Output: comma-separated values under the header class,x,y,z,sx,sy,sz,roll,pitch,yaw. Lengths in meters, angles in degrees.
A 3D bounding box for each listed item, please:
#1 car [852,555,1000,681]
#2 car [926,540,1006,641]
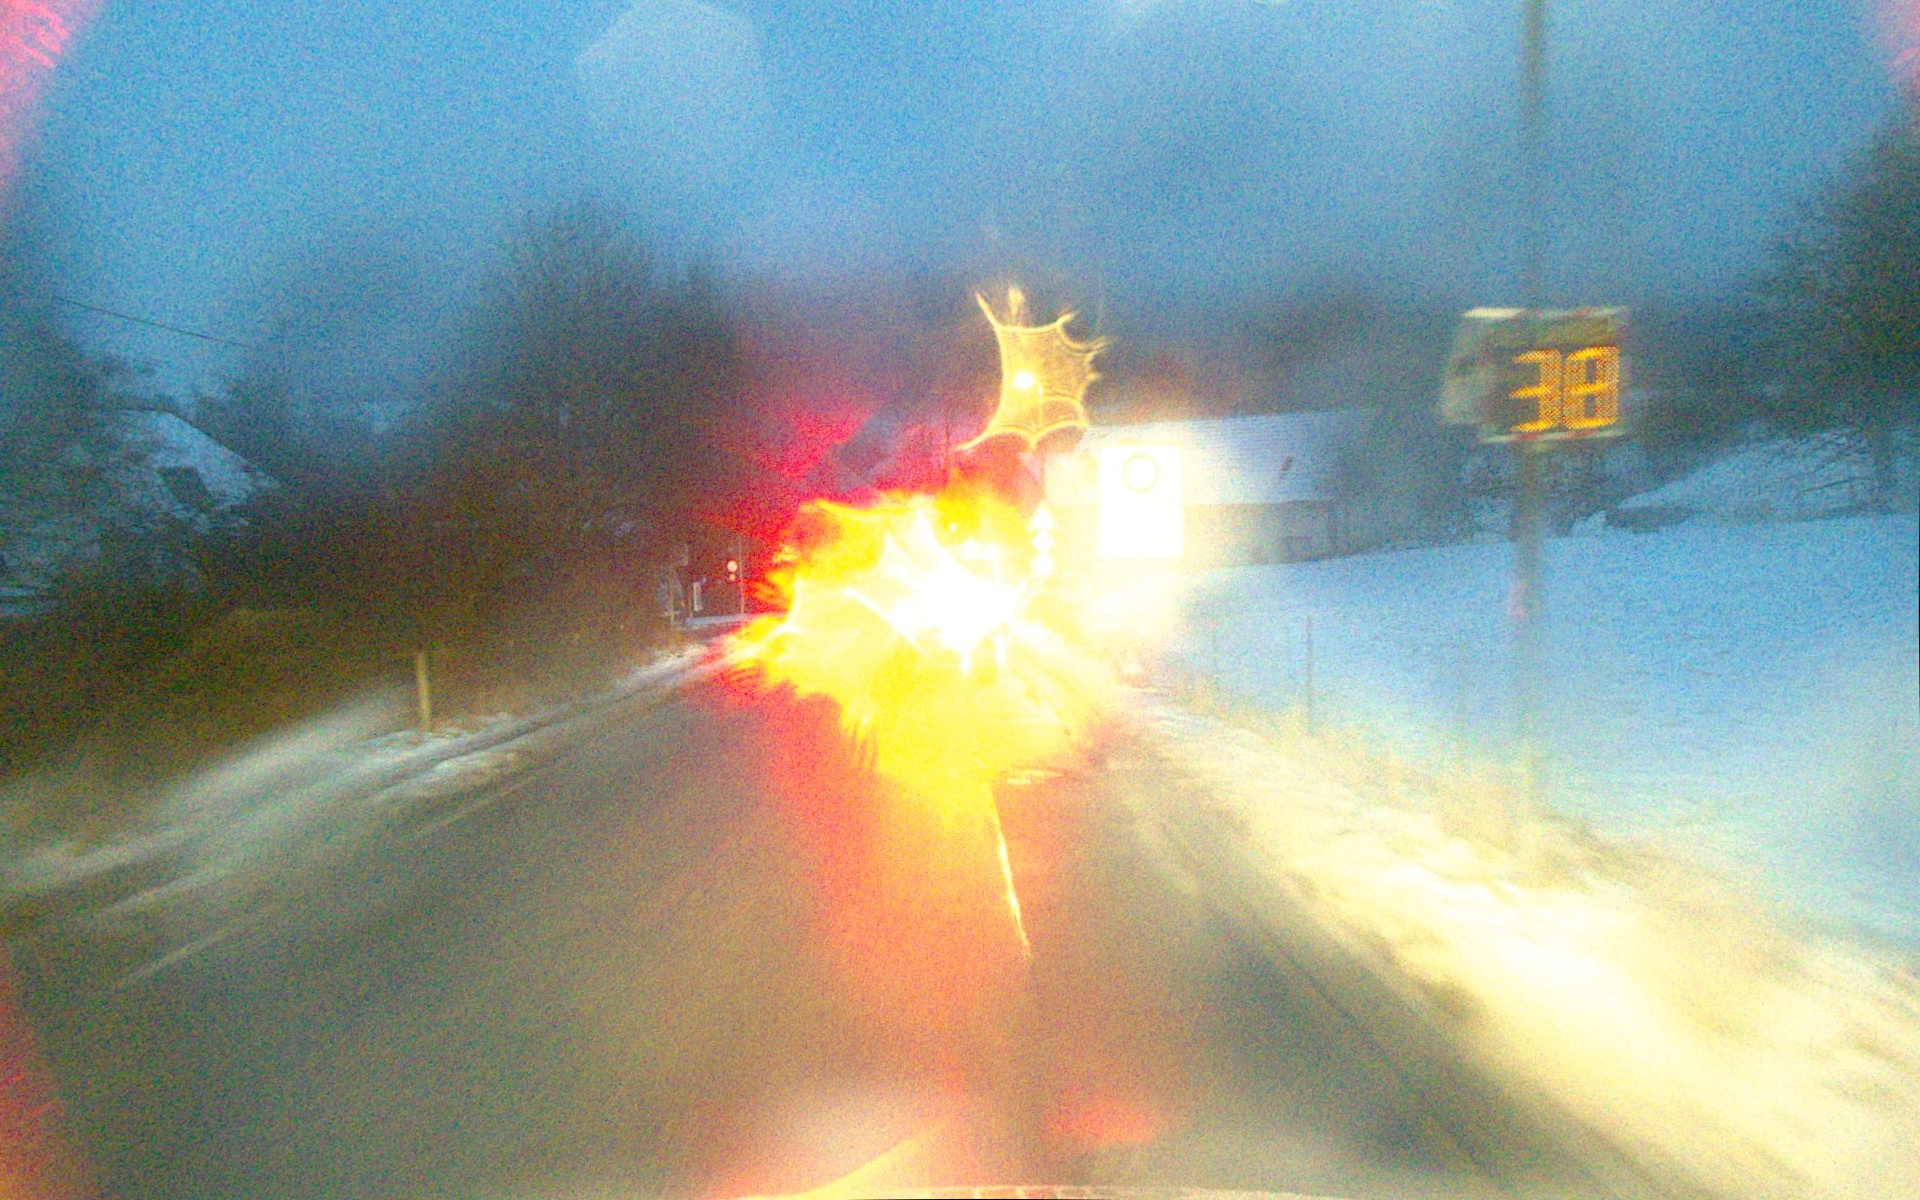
class,x,y,z,sx,sy,sz,roll,pitch,yaw
car,-0.621,0.251,27.862,2.228,1.873,5.004,-1,1,-2
car,0.208,-0.277,55.114,2.385,3.071,5.325,-3,-1,0
